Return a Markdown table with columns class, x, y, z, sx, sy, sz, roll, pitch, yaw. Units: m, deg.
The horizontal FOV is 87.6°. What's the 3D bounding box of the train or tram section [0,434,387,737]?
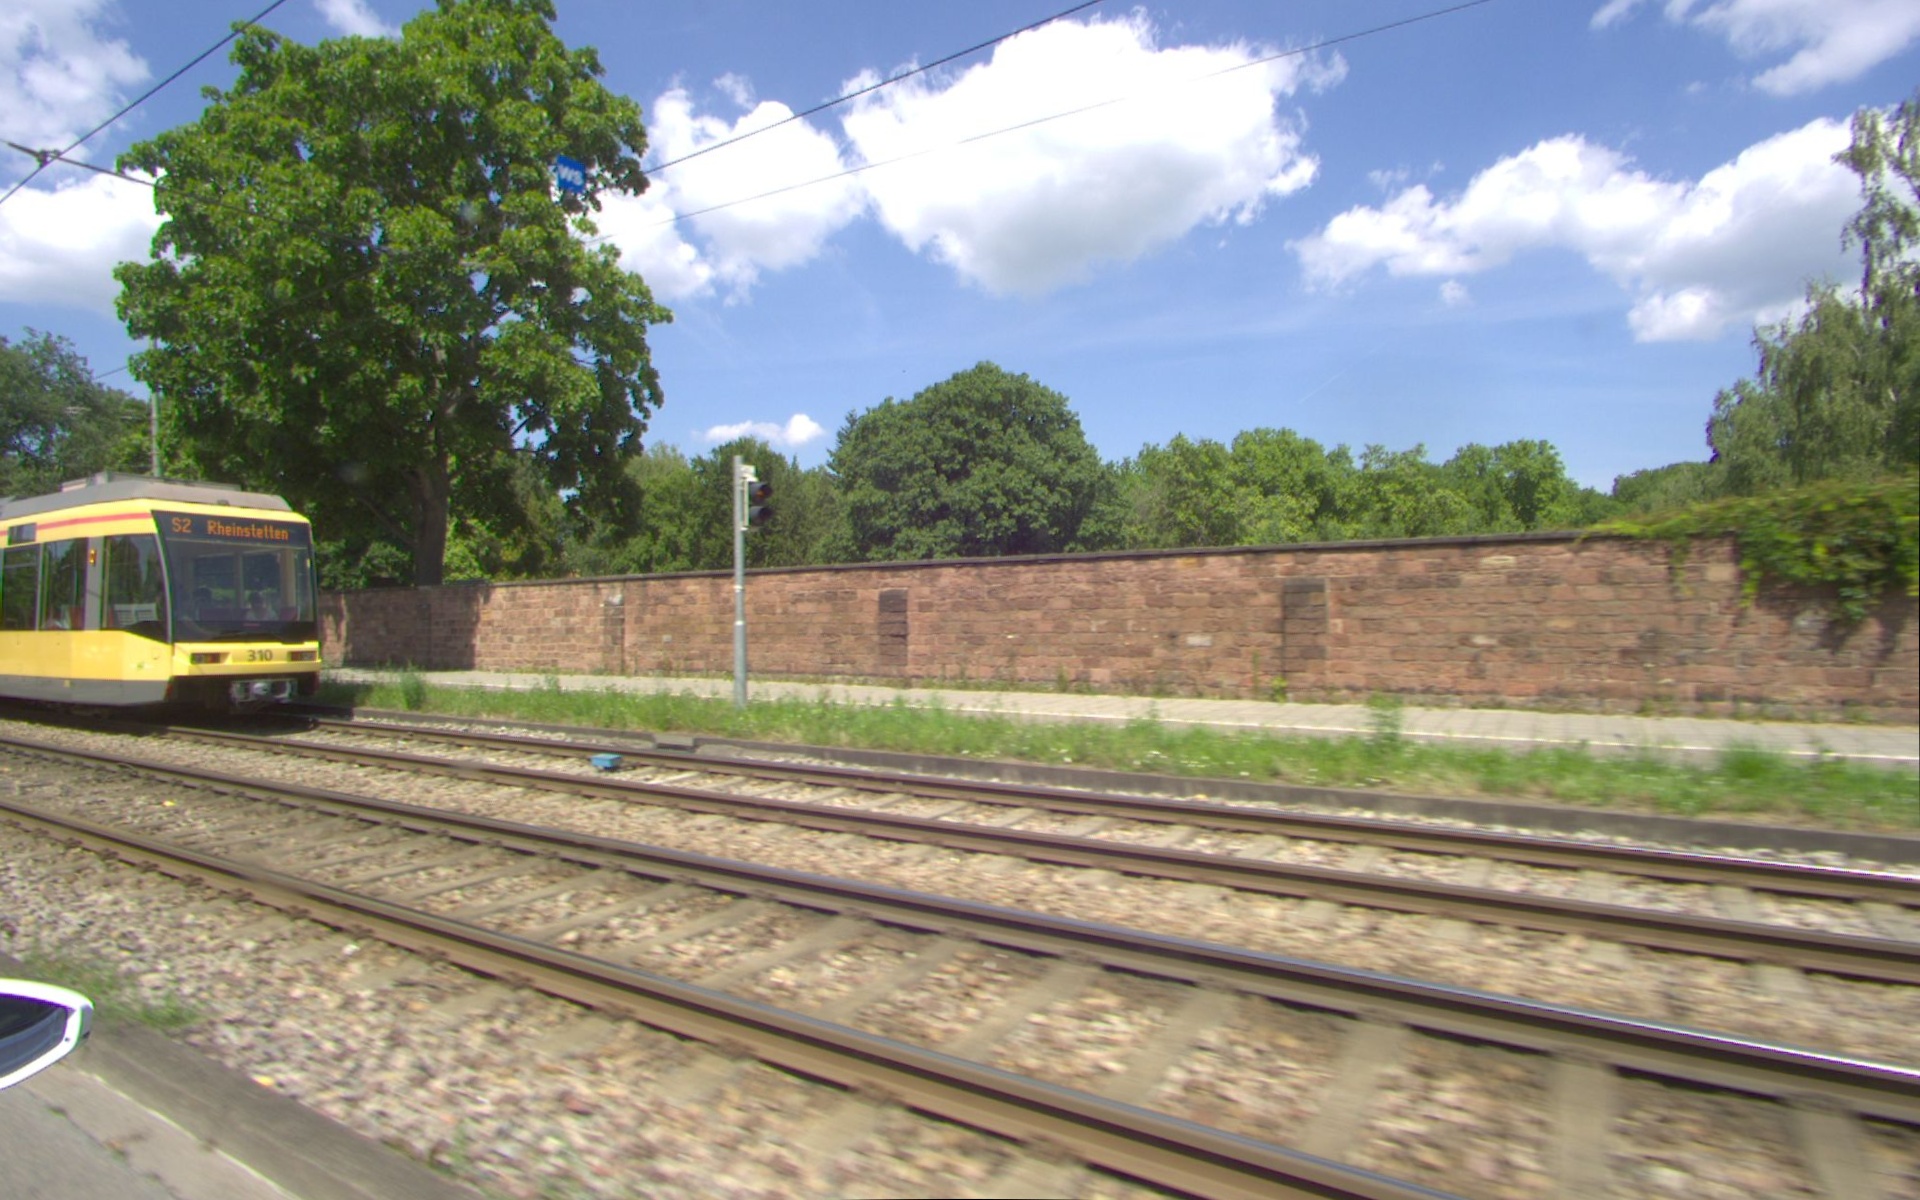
| class | x | y | z | sx | sy | sz | roll | pitch | yaw |
| --- | --- | --- | --- | --- | --- | --- | --- | --- | --- |
| train or tram section | -16.947 | -0.067 | 18.457 | 18.124 | 3.739 | 2.939 | -1 | -1 | 32 |
